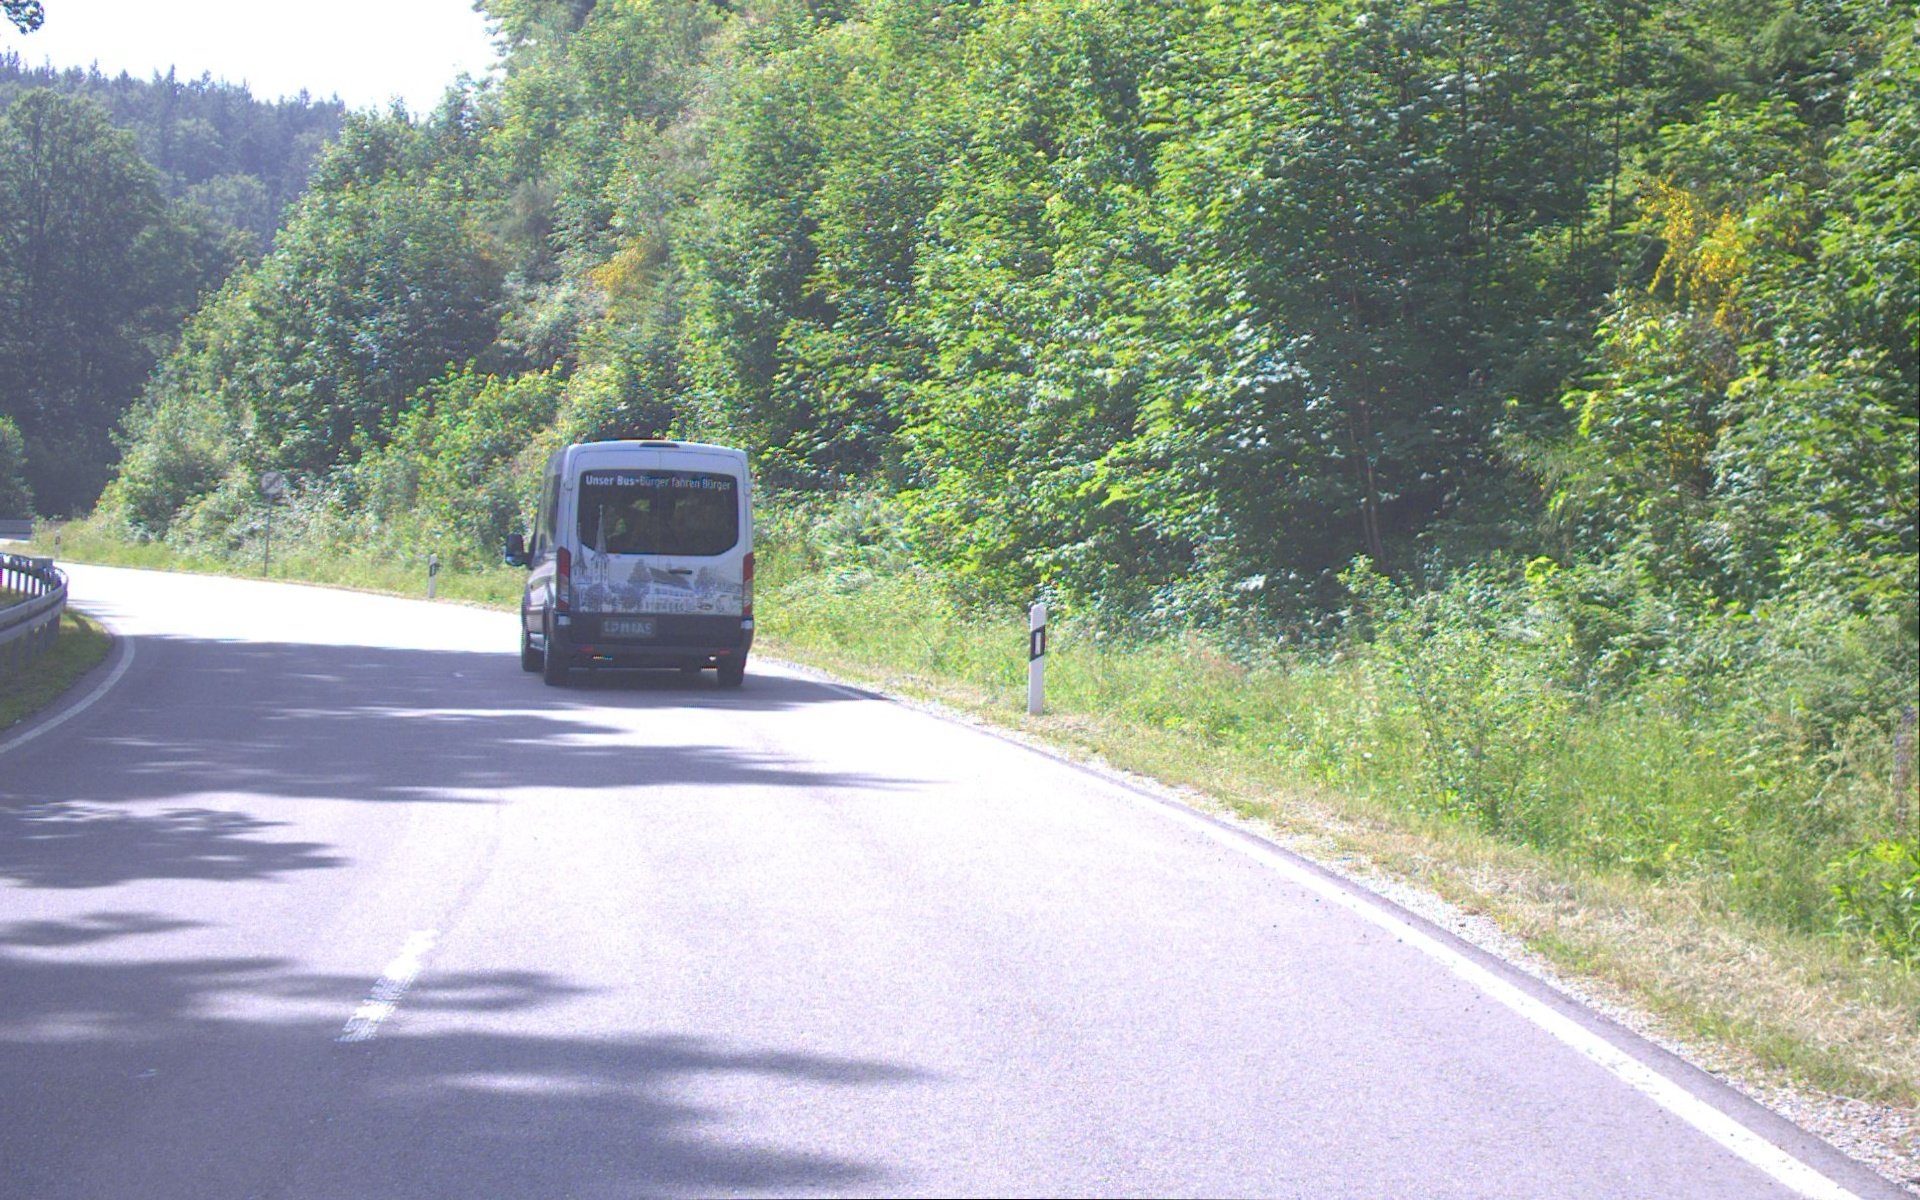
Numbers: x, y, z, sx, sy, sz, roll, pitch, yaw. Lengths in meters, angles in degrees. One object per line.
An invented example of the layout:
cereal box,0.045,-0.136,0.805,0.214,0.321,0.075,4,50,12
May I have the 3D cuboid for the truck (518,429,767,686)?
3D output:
truck,-3.418,-0.468,36.074,2.115,2.489,5.361,0,1,-10
